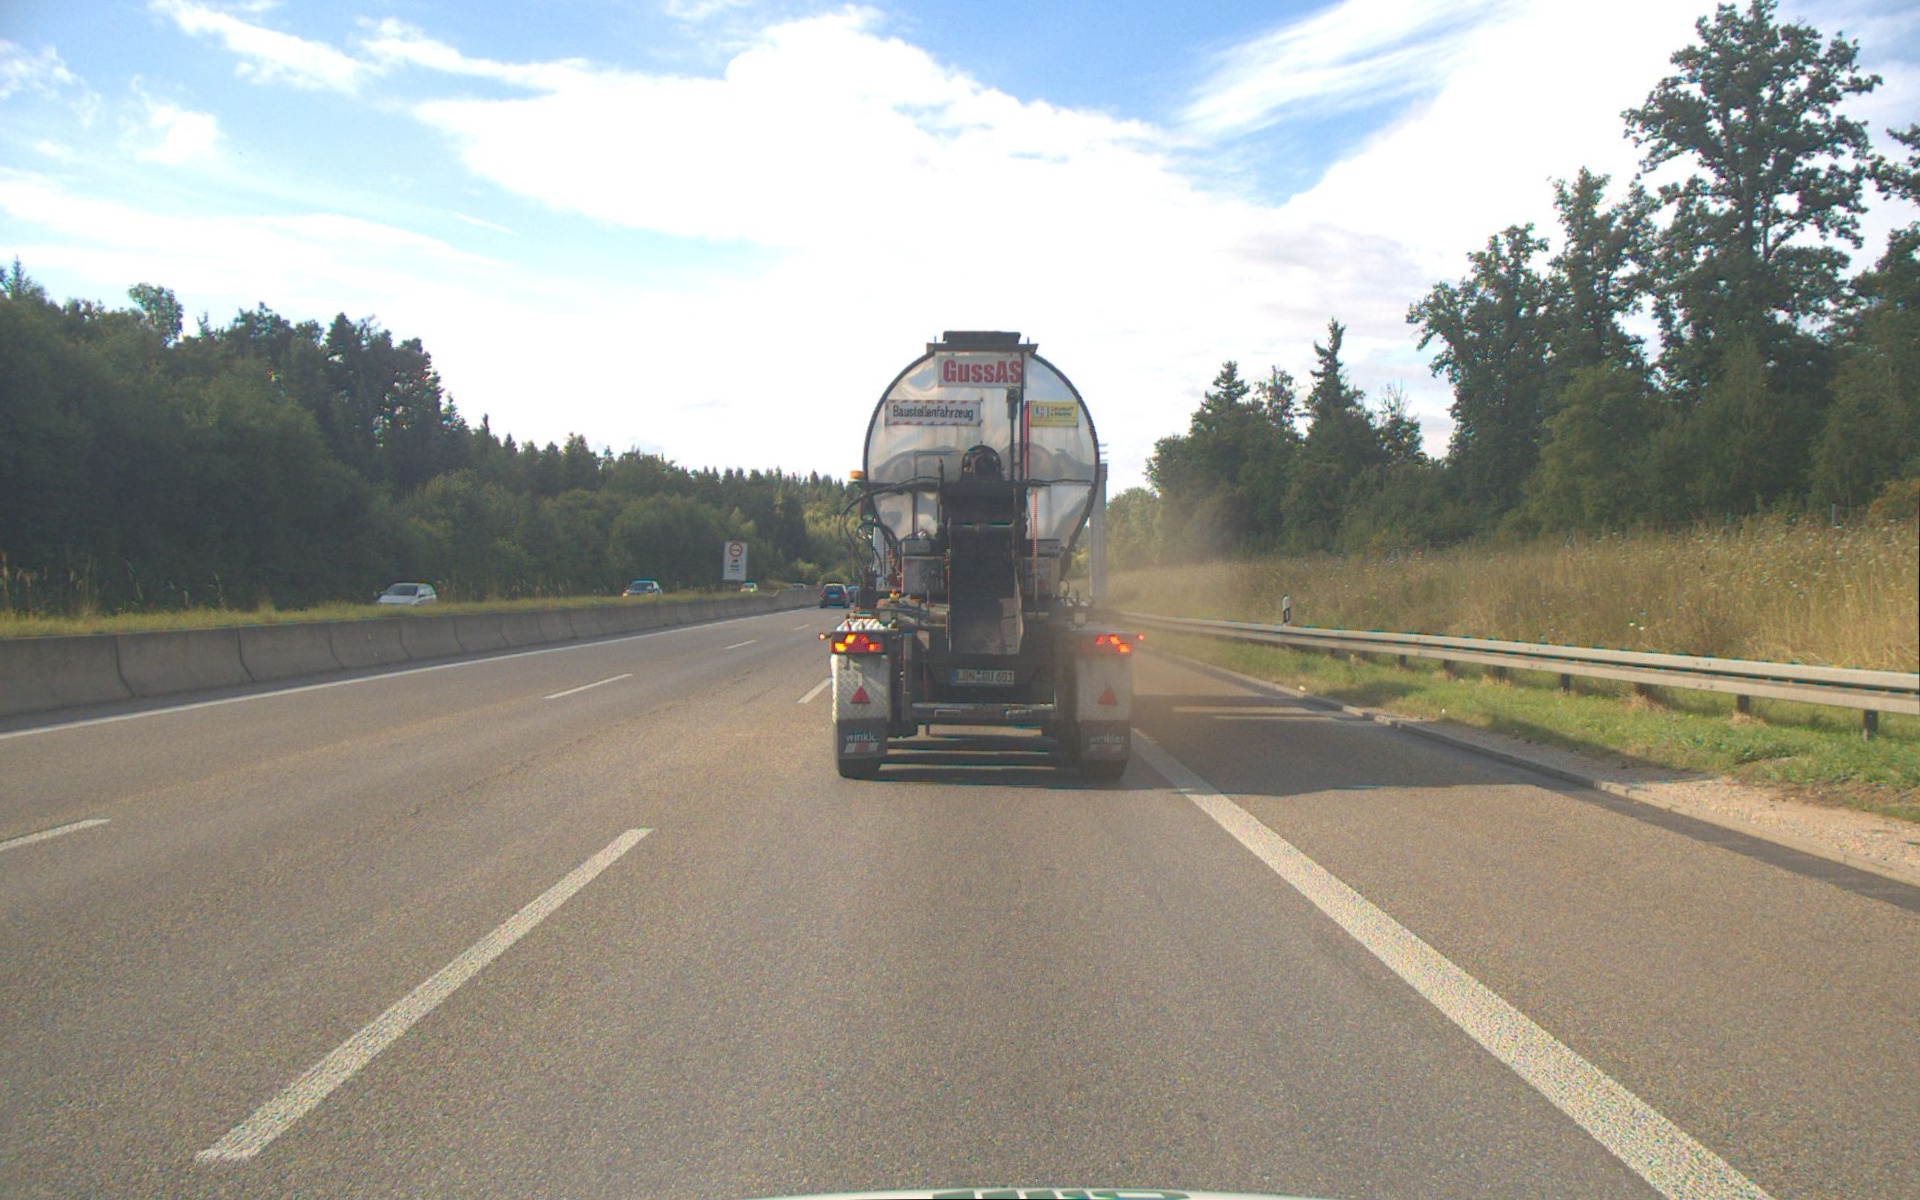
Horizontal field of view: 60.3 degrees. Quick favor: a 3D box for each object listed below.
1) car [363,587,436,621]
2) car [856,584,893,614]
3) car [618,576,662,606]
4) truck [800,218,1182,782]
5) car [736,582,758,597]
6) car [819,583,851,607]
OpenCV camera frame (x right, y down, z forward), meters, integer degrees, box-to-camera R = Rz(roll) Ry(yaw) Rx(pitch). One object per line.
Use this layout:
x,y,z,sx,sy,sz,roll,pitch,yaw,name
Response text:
-22.825,0.138,67.502,1.779,1.313,3.544,0,0,-1,car
-4.566,-0.050,88.527,1.798,1.544,4.332,0,0,-1,car
-19.310,-0.564,99.987,1.867,1.747,4.000,0,0,0,car
0.198,-0.793,18.104,2.853,4.230,11.268,0,0,0,truck
-23.684,-1.190,184.306,1.910,1.566,4.326,0,0,0,car
-8.262,-0.333,109.554,1.798,1.544,4.332,0,0,-1,car
